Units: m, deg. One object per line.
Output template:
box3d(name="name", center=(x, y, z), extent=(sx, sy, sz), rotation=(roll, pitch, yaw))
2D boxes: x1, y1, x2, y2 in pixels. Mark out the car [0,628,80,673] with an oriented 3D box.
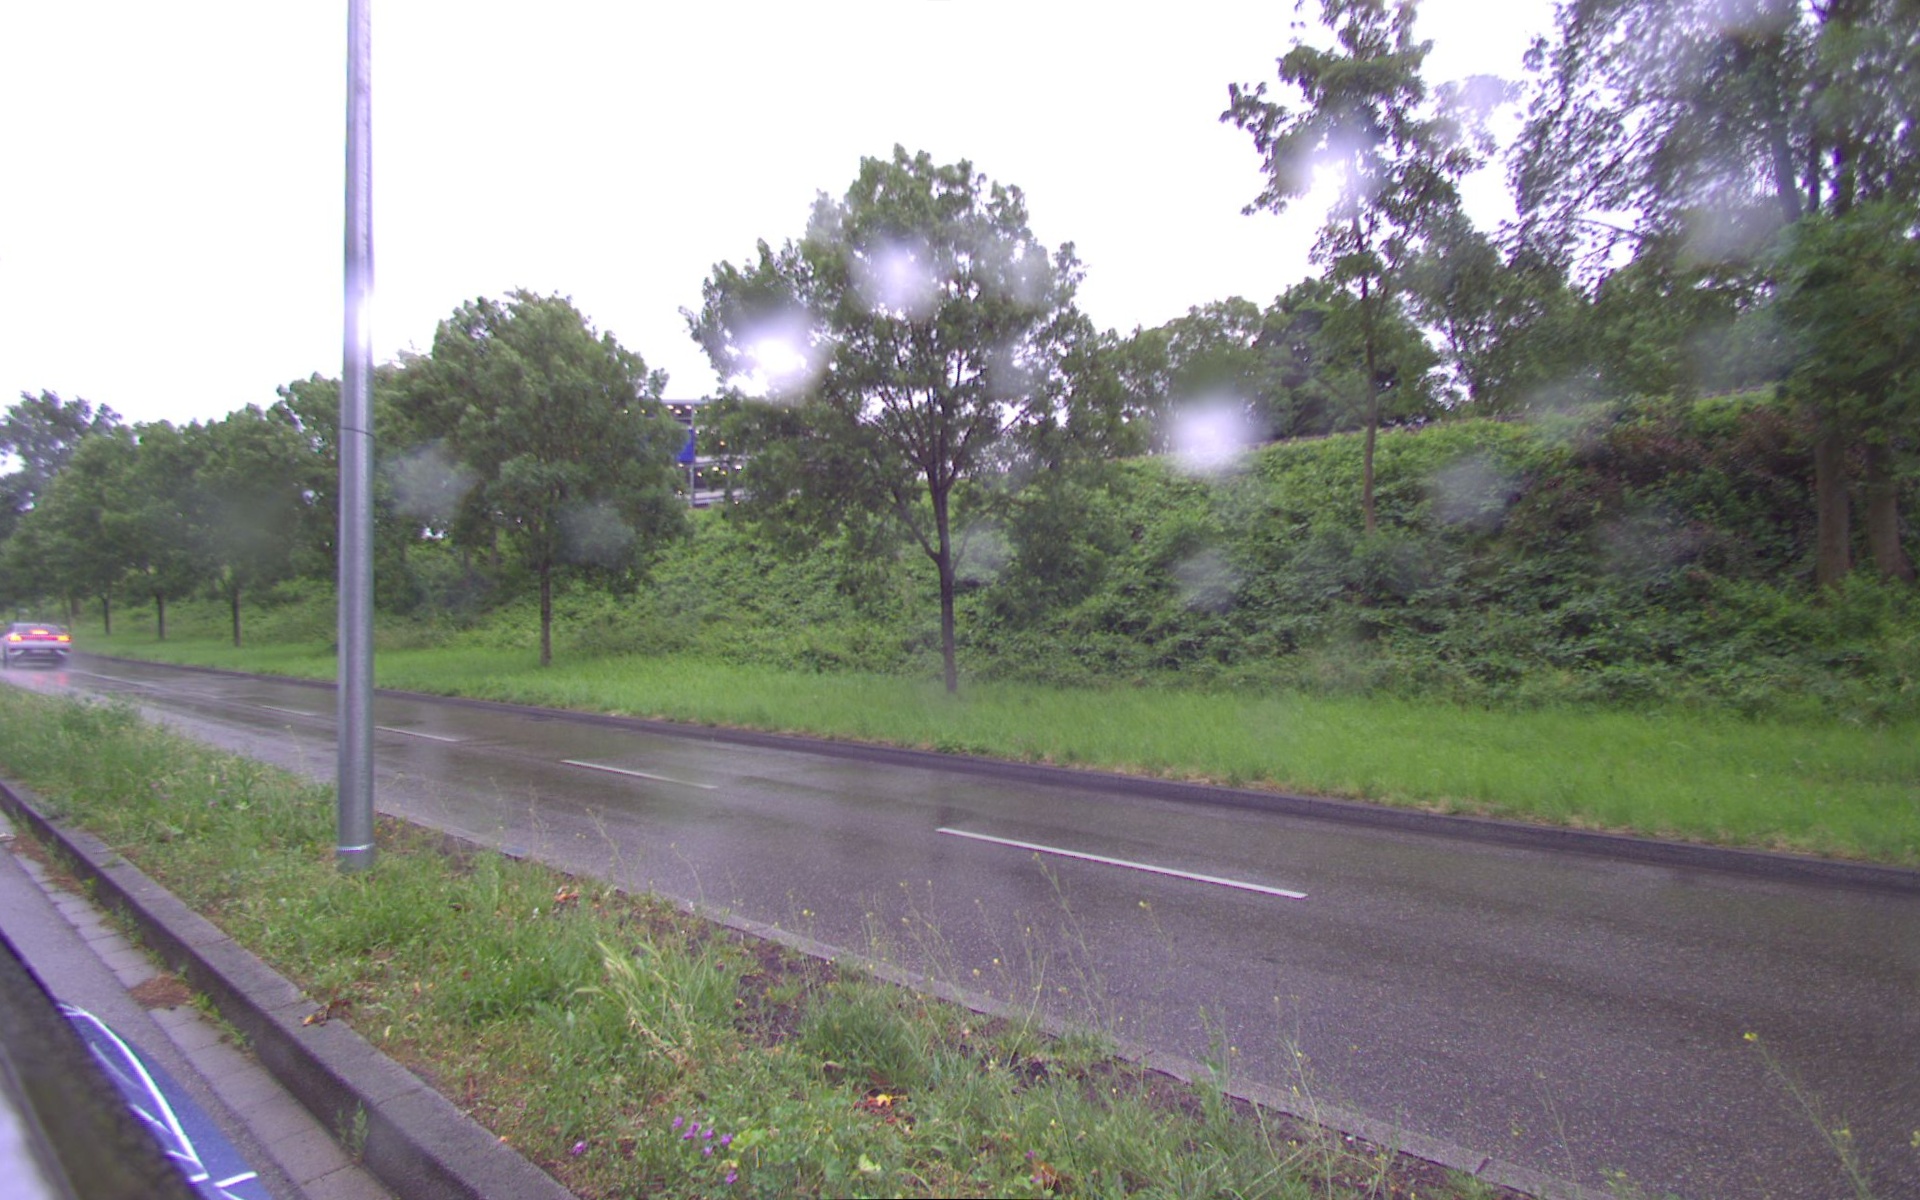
box3d(name="car", center=(-33.227, 1.794, 36.287), extent=(4.299, 1.531, 1.867), rotation=(-2, -4, 41))
